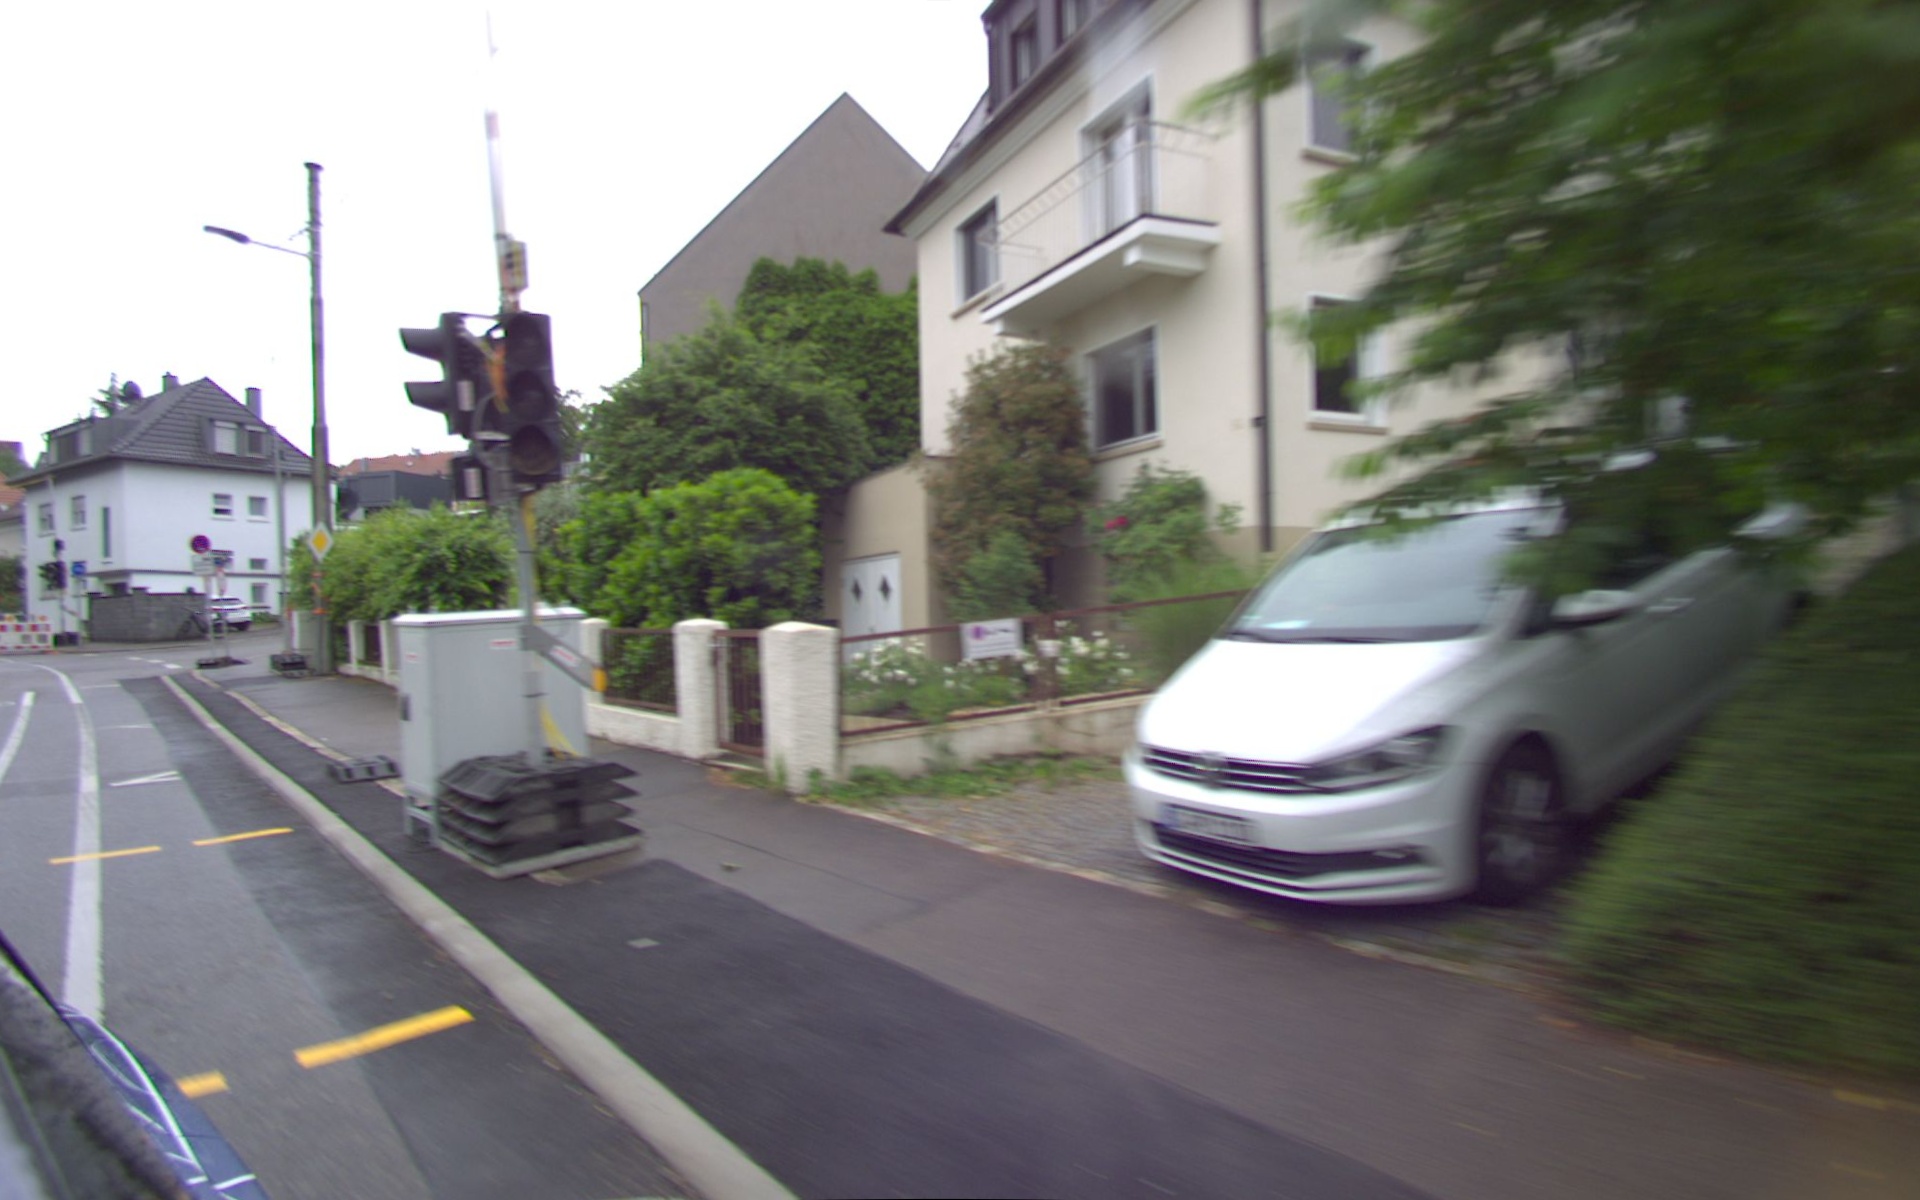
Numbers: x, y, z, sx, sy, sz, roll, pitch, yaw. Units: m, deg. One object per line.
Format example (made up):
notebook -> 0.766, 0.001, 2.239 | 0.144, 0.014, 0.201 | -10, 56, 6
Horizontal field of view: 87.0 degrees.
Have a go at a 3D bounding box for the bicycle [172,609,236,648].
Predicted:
bicycle -> -27.506, 1.018, 36.833 | 0.706, 1.321, 1.711 | 0, 2, 37

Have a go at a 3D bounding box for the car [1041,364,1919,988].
car -> 3.053, -0.014, 5.293 | 4.901, 1.627, 1.869 | -14, 6, -30

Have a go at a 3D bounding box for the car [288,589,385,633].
car -> -26.886, 0.430, 43.774 | 1.728, 1.476, 3.558 | -3, 5, 4
